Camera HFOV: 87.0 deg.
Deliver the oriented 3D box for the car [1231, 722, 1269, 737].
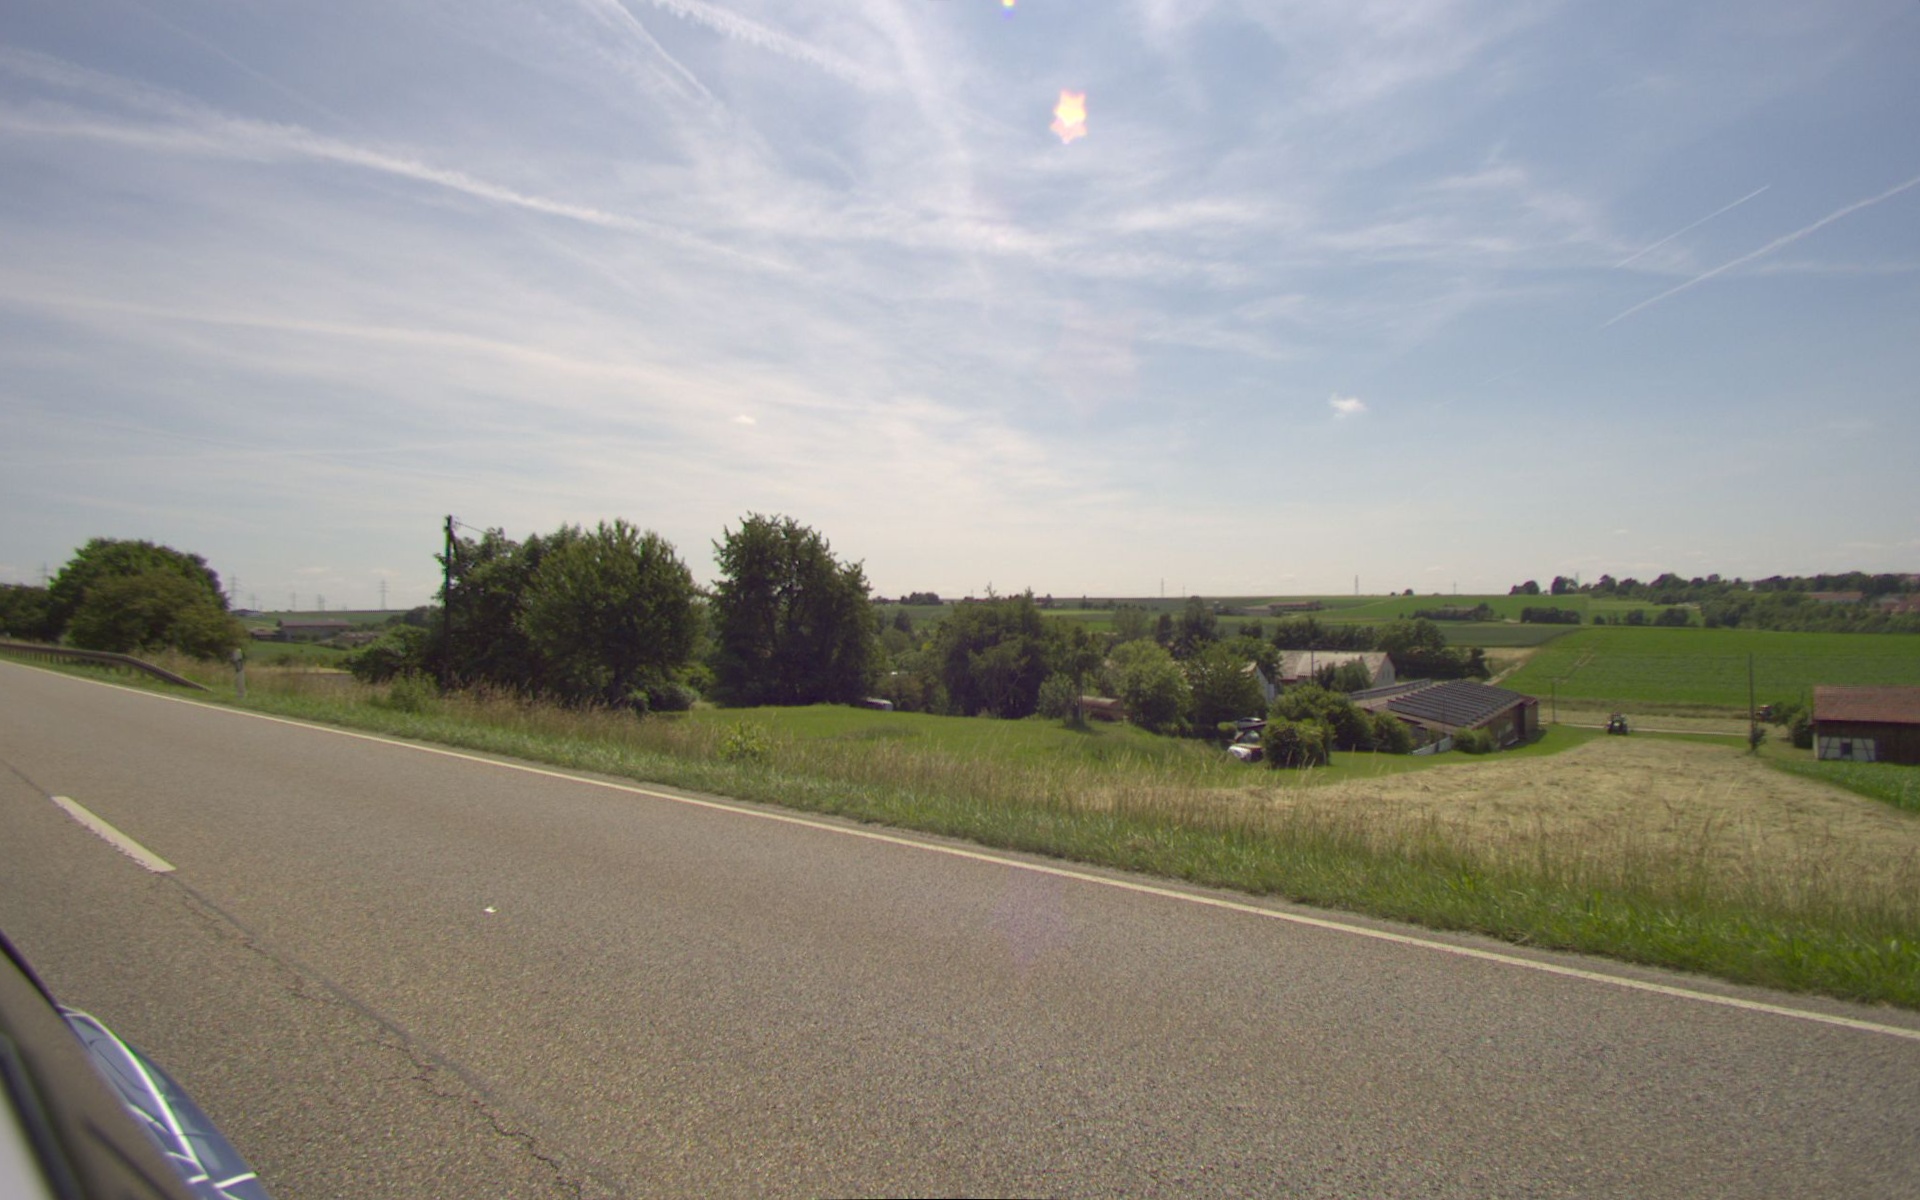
[{"bbox_3d":[39.346,17.559,137.437,4.497,1.697,1.973,-2,-7,41],"label":"car"}]
